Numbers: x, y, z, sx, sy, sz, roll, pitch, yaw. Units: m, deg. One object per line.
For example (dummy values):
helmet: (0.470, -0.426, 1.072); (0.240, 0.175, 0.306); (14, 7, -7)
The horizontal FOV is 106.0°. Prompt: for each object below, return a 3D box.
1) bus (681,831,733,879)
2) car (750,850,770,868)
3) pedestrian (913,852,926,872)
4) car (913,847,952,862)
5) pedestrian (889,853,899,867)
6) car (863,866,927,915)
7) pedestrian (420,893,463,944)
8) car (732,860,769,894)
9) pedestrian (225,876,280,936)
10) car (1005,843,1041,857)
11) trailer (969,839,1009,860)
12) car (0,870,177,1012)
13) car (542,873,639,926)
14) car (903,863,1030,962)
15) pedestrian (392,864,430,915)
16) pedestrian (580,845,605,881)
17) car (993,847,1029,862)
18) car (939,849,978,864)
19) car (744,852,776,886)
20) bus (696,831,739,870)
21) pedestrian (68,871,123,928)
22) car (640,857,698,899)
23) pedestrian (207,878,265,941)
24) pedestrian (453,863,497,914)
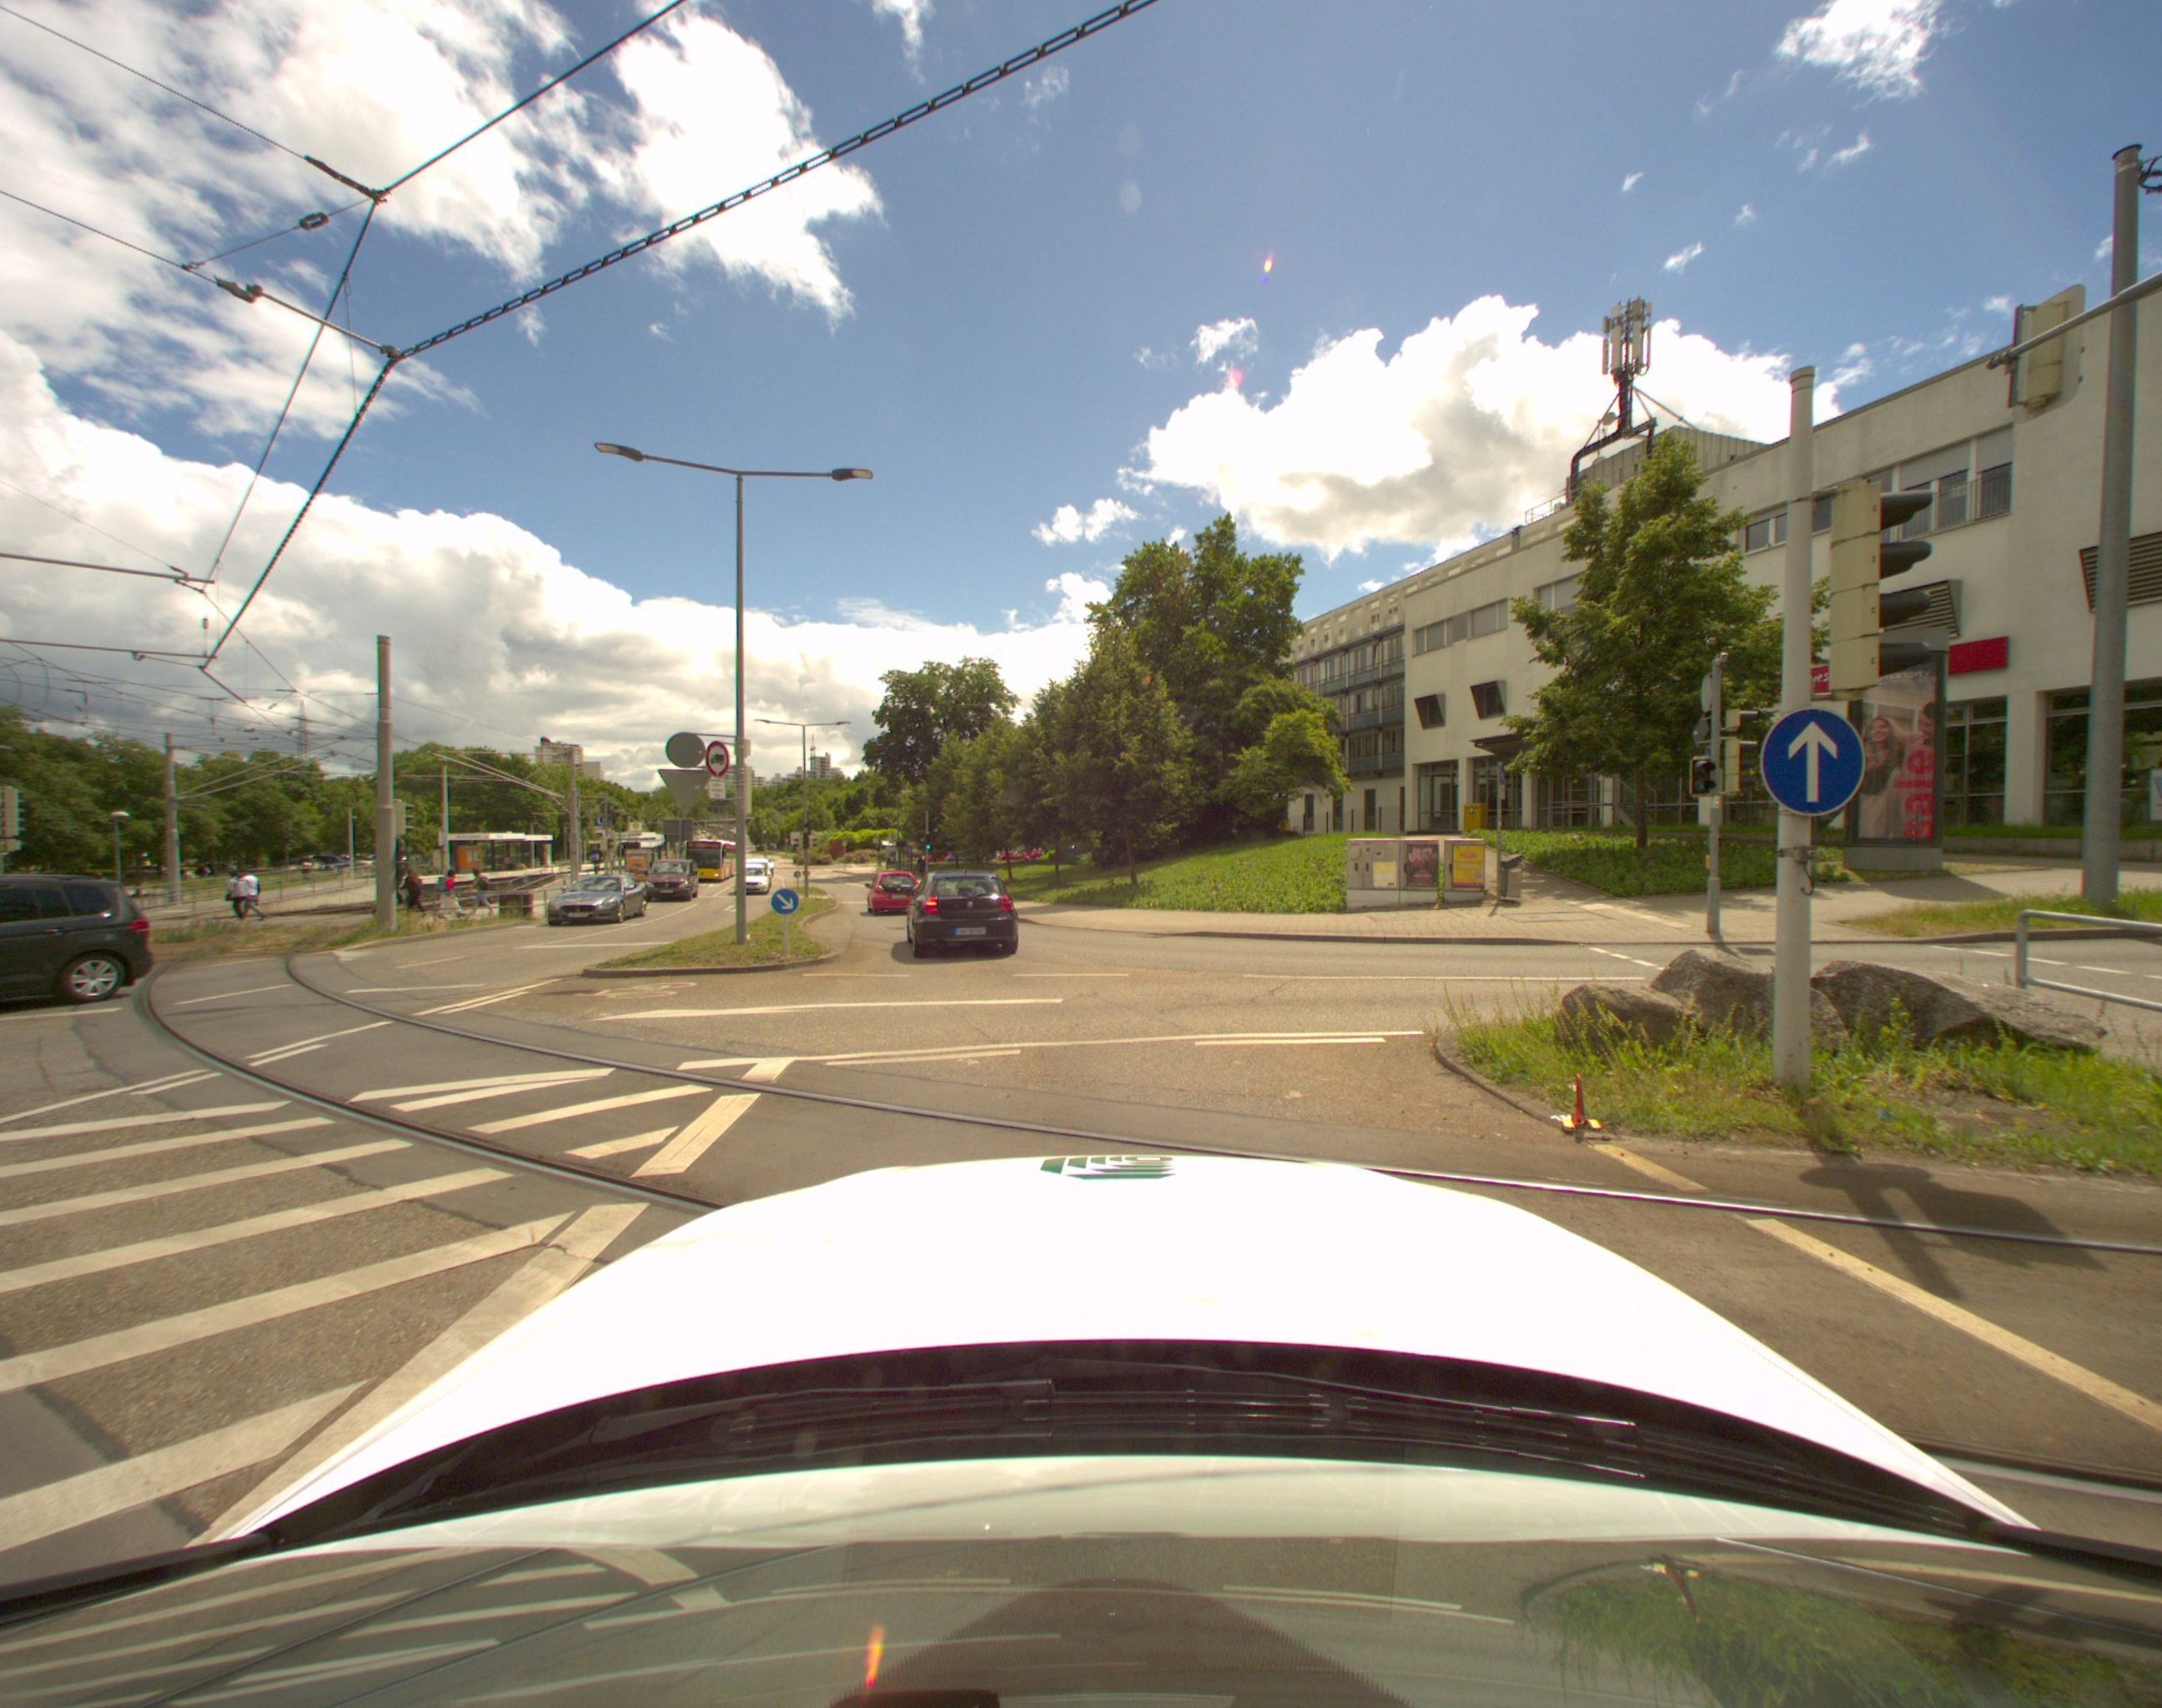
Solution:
bus: (-27.652, -0.066, 60.567); (2.735, 3.108, 9.640); (-1, 2, -20)
car: (-28.609, 0.437, 72.583); (1.535, 1.551, 3.706); (1, 0, -22)
pedestrian: (-12.028, 0.586, 60.517); (0.822, 1.424, 0.824); (-1, 0, -21)
car: (-17.872, 0.071, 97.950); (4.178, 1.561, 1.984); (-1, 4, -26)
pedestrian: (-17.613, 0.574, 76.844); (0.829, 1.258, 0.682); (-1, 1, -18)
car: (-6.456, 1.211, 28.017); (1.771, 1.432, 3.457); (-2, 1, -19)
pedestrian: (-20.010, 2.010, 25.517); (0.802, 1.540, 0.828); (2, -1, -23)
car: (-17.658, 1.167, 43.481); (1.706, 1.648, 4.048); (0, 1, -23)
pedestrian: (-26.304, 1.633, 25.866); (0.909, 1.821, 0.768); (-1, 1, -17)
car: (-7.349, -0.493, 102.824); (4.098, 1.502, 1.985); (-2, 3, -23)
trailer: (-11.395, -0.610, 101.117); (4.556, 2.486, 2.205); (-1, 2, -23)
car: (-13.262, 1.029, 8.876); (1.796, 1.580, 4.304); (-1, 0, 6)
car: (-14.988, 1.322, 25.135); (1.805, 1.410, 5.014); (-1, -1, -23)
car: (-2.200, 0.927, 14.720); (1.818, 1.420, 3.980); (-2, 1, -15)
pedestrian: (-21.635, 1.127, 26.300); (0.634, 1.596, 0.840); (-1, -1, 41)
pedestrian: (-28.124, 0.504, 46.908); (0.973, 2.013, 1.022); (-1, 0, -18)
car: (-7.938, 0.062, 92.454); (3.703, 1.643, 1.816); (-1, 2, -24)
car: (-13.564, 0.266, 90.171); (3.811, 1.456, 1.882); (-3, 3, -24)
car: (-20.471, 0.893, 51.818); (1.769, 1.662, 4.474); (-2, 5, -23)
bus: (-30.847, -0.408, 69.366); (2.735, 3.069, 8.904); (-1, 2, -20)
pedestrian: (-28.996, 1.329, 23.977); (0.838, 1.603, 0.663); (-2, 1, -34)
car: (-19.043, 1.070, 37.824); (2.002, 1.822, 5.033); (0, -1, -23)
pedestrian: (-25.829, 1.672, 24.914); (0.909, 1.821, 0.768); (-1, 1, -17)
pedestrian: (-19.995, 1.125, 26.896); (0.863, 1.636, 0.915); (-2, 0, -17)
